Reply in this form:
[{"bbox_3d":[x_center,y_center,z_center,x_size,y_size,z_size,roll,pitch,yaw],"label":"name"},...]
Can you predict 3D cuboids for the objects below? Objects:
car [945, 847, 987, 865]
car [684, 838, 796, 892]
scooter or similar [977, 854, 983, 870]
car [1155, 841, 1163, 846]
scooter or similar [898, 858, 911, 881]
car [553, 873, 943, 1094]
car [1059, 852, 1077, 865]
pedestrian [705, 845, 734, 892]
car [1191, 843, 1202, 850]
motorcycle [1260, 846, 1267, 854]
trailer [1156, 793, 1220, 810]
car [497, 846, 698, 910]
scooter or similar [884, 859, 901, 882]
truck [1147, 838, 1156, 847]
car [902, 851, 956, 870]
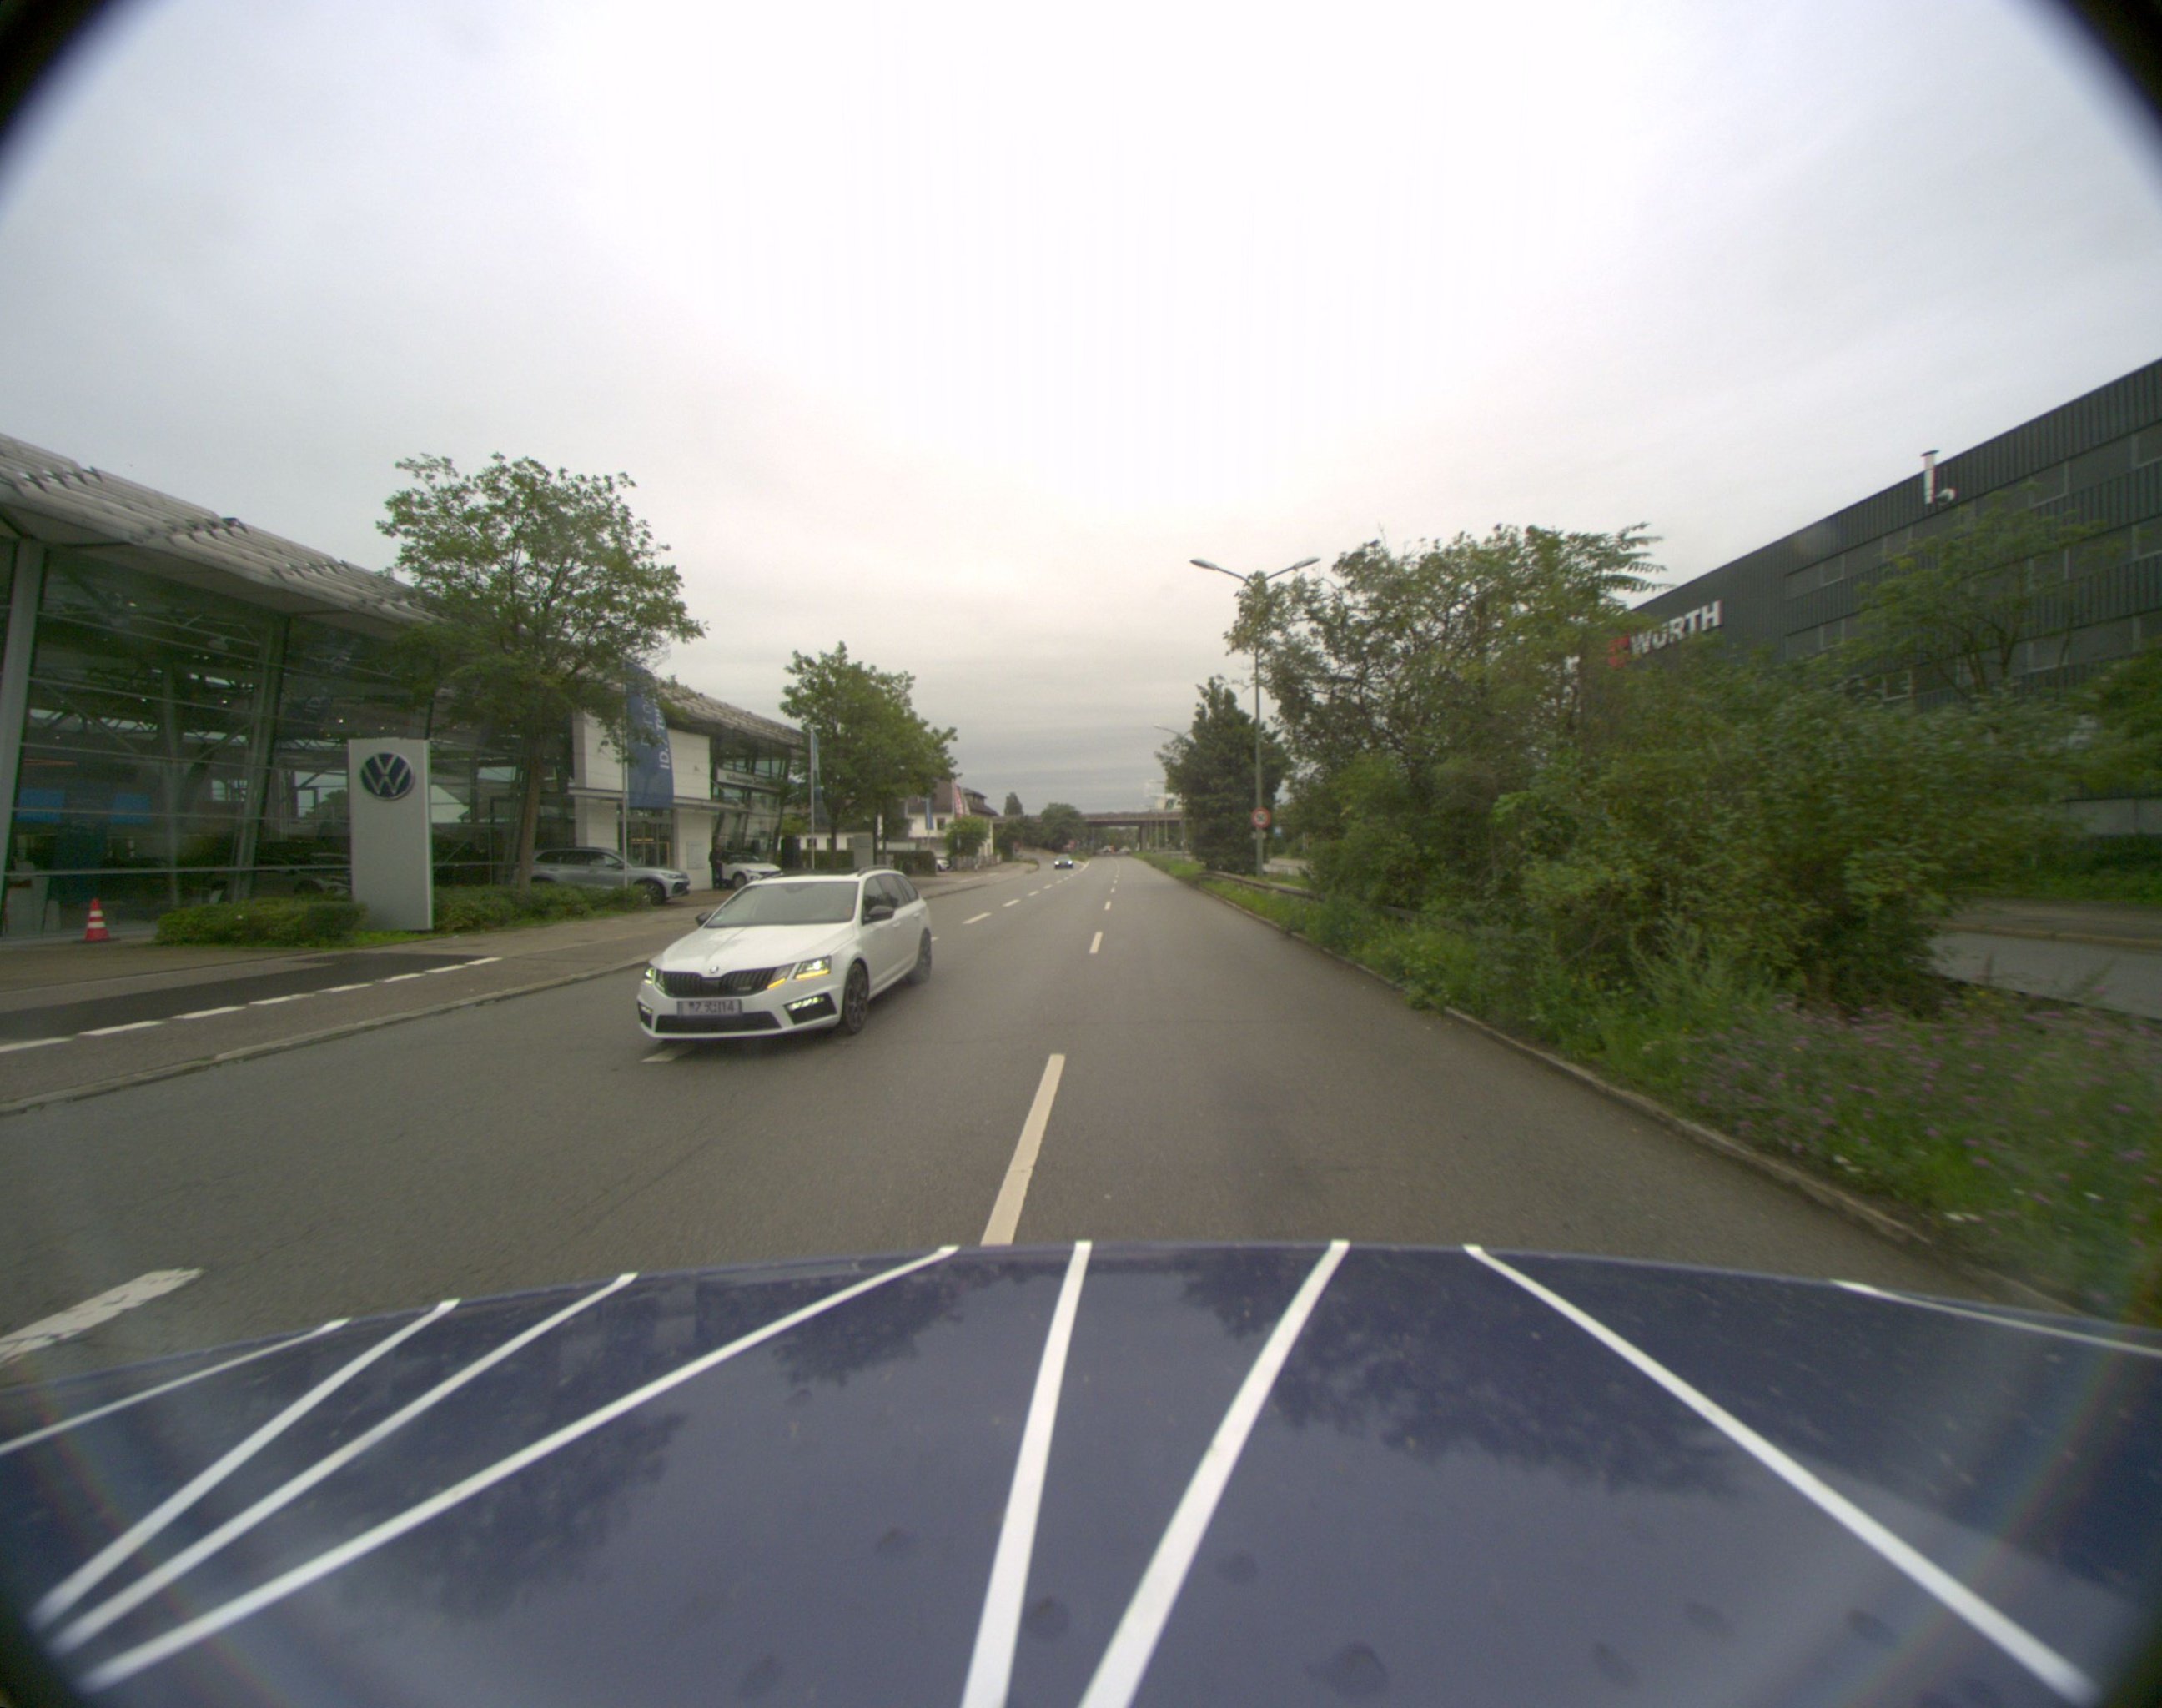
[{"bbox_3d":[-12.228,0.208,80.698,4.106,1.716,1.927,-1,1,1],"label":"car"},{"bbox_3d":[-14.036,0.397,31.237,4.249,2.002,1.966,2,2,27],"label":"car"},{"bbox_3d":[-8.536,0.659,63.896,0.398,1.216,1.638,1,2,-10],"label":"scooter or similar"},{"bbox_3d":[23.581,-3.210,230.878,1.974,1.574,4.590,2,2,1],"label":"car"},{"bbox_3d":[-9.946,0.868,42.840,0.497,1.198,1.428,2,1,-6],"label":"scooter or similar"},{"bbox_3d":[-2.873,1.015,7.885,1.914,1.439,4.556,-2,0,1],"label":"car"},{"bbox_3d":[-1.305,0.471,78.333,1.709,1.281,4.000,-1,1,2],"label":"car"},{"bbox_3d":[-13.883,0.530,29.173,0.808,1.766,0.714,-2,1,-41],"label":"pedestrian"},{"bbox_3d":[26.128,-1.660,172.111,1.998,1.563,4.574,0,1,3],"label":"car"},{"bbox_3d":[26.594,-0.610,110.552,0.534,1.169,2.196,-1,1,3],"label":"motorcycle"},{"bbox_3d":[22.172,-10.923,158.752,14.015,3.281,2.671,3,5,42],"label":"trailer"},{"bbox_3d":[-14.022,0.668,22.385,4.607,1.697,2.004,0,2,-18],"label":"car"},{"bbox_3d":[-10.038,0.864,40.578,0.497,1.198,1.430,2,0,0],"label":"scooter or similar"},{"bbox_3d":[23.163,-3.814,249.053,2.259,2.960,7.231,1,1,-1],"label":"truck"},{"bbox_3d":[-12.521,0.531,62.650,4.023,1.452,1.793,-1,1,3],"label":"car"}]
